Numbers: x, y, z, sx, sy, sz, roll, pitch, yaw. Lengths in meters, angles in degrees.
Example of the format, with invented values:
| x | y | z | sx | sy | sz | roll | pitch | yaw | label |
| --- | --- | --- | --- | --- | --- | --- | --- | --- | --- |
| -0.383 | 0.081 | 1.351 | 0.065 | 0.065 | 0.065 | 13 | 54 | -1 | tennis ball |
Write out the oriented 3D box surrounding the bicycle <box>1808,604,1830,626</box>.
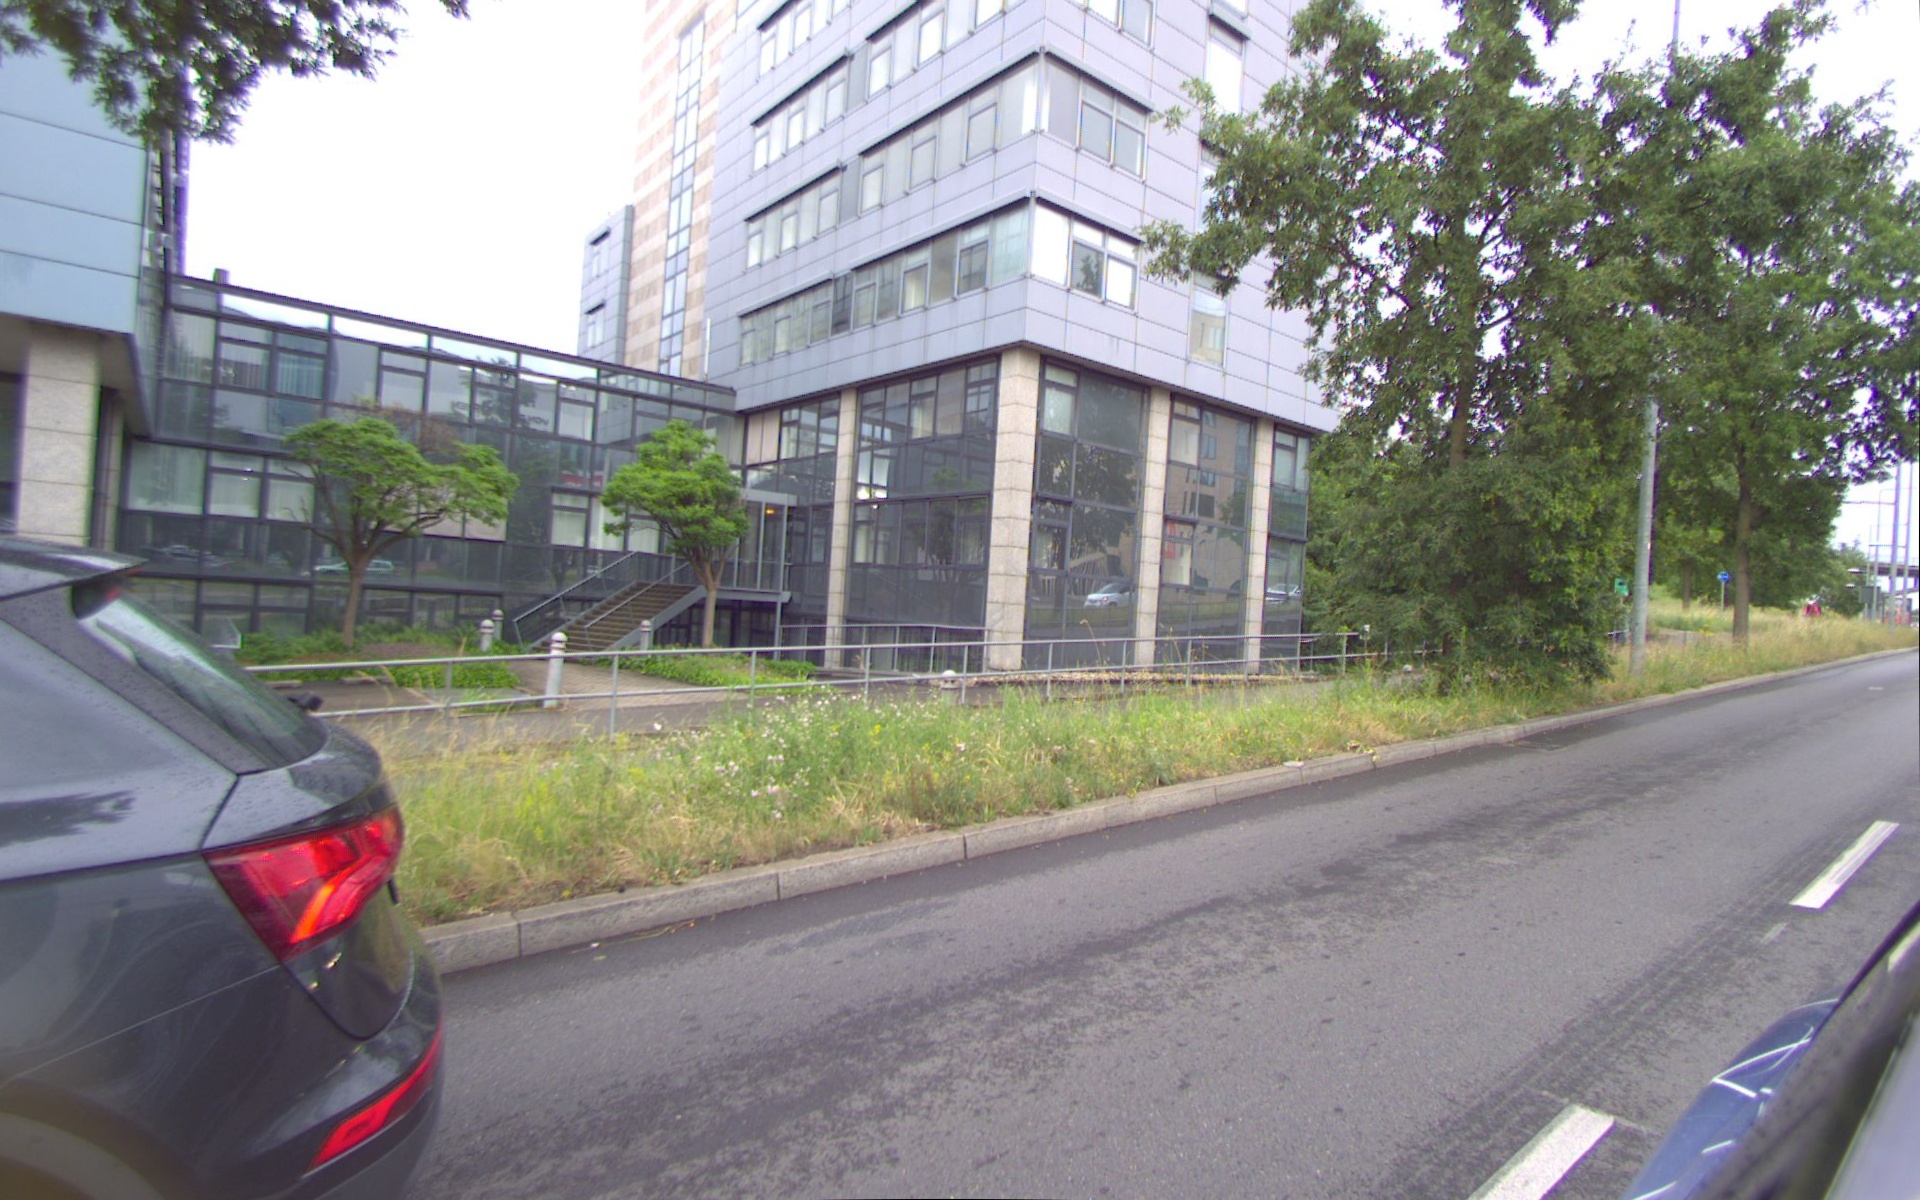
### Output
| x | y | z | sx | sy | sz | roll | pitch | yaw | label |
| --- | --- | --- | --- | --- | --- | --- | --- | --- | --- |
| 43.309 | 0.766 | 51.017 | 1.872 | 1.102 | 0.581 | 1 | -1 | -41 | bicycle |

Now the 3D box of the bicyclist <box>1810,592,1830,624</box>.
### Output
| x | y | z | sx | sy | sz | roll | pitch | yaw | label |
| --- | --- | --- | --- | --- | --- | --- | --- | --- | --- |
| 43.444 | 0.398 | 51.111 | 0.839 | 1.599 | 0.647 | 1 | -1 | -41 | bicyclist |

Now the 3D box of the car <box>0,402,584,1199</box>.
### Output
| x | y | z | sx | sy | sz | roll | pitch | yaw | label |
| --- | --- | --- | --- | --- | --- | --- | --- | --- | --- |
| -2.910 | 0.545 | 1.022 | 4.392 | 1.633 | 1.821 | 0 | 1 | -41 | car |
